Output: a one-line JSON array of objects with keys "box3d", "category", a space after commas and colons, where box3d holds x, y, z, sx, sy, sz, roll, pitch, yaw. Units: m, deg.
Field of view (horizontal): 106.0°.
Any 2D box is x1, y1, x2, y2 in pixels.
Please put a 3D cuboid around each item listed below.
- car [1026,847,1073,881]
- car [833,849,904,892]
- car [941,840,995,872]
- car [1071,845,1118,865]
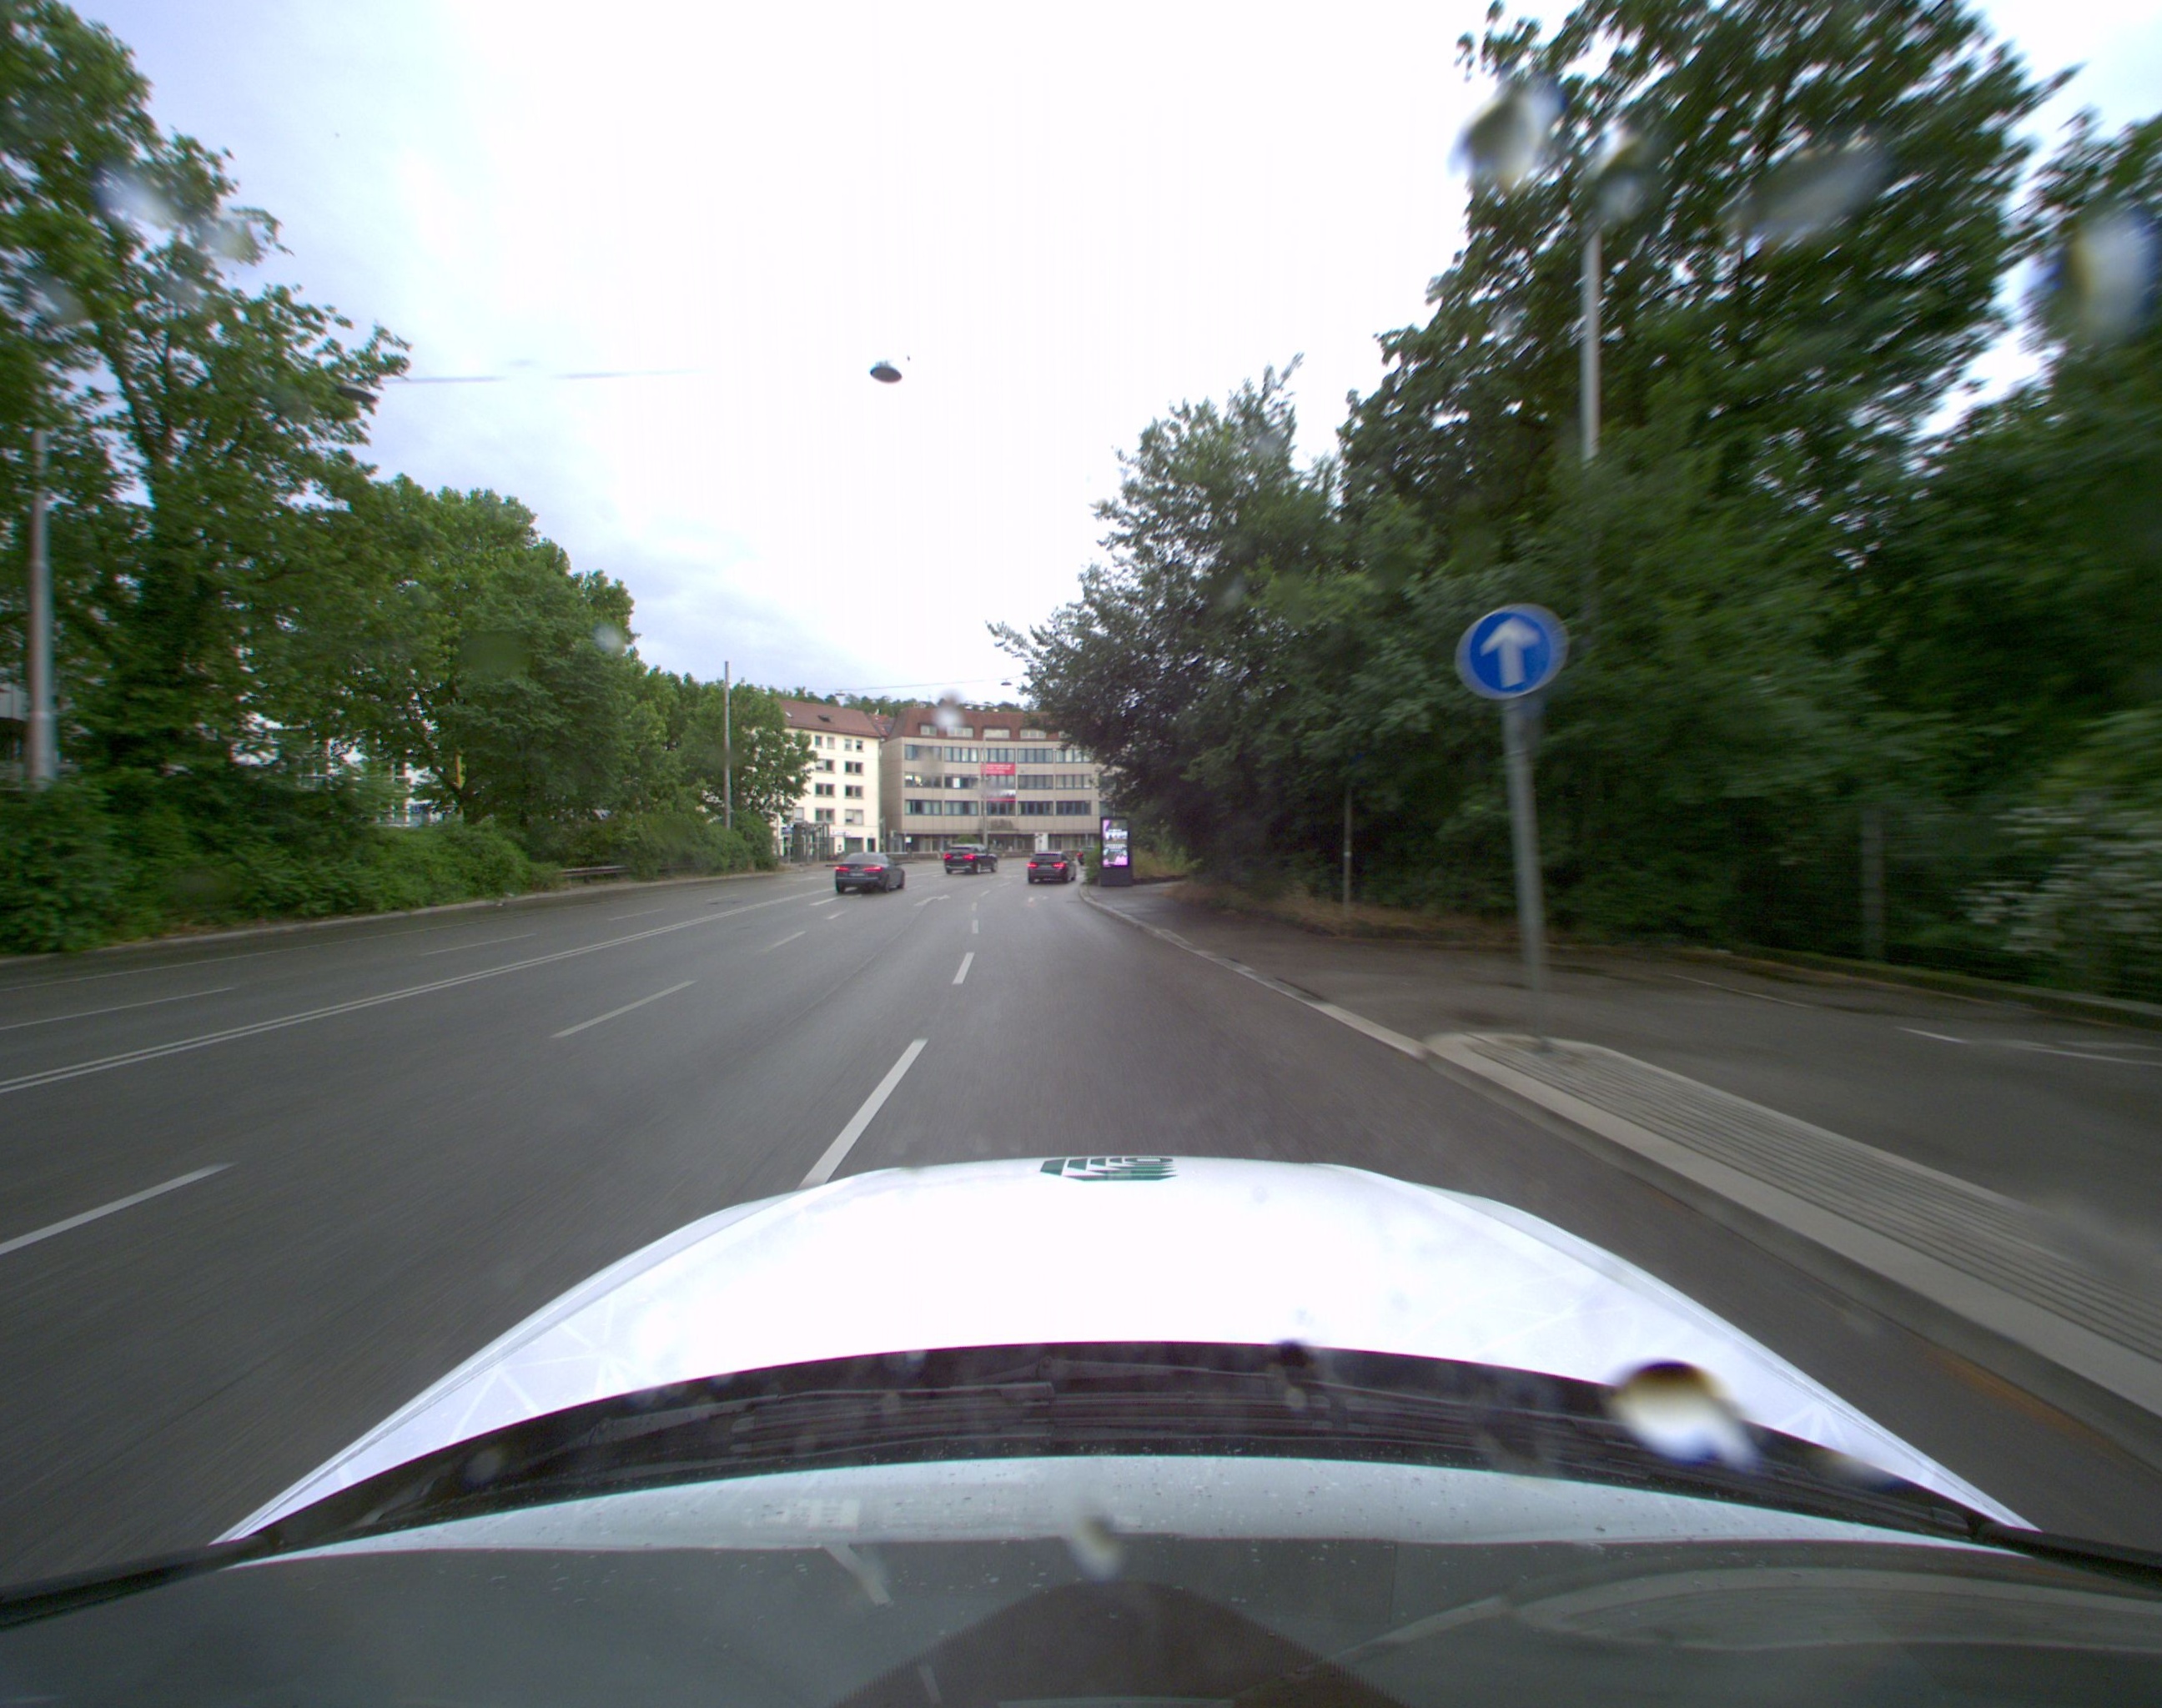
[{"box3d": [-1.389, 0.452, 37.206, 1.952, 1.426, 4.124, -1, 0, 0], "category": "car"}, {"box3d": [-7.752, 0.574, 30.142, 1.788, 1.426, 4.377, -1, 0, -5], "category": "car"}, {"box3d": [-6.213, 0.114, 45.358, 1.889, 1.693, 4.009, -1, 0, 8], "category": "car"}, {"box3d": [1.035, 0.038, 60.237, 1.775, 1.426, 4.640, 0, 1, 24], "category": "car"}]
